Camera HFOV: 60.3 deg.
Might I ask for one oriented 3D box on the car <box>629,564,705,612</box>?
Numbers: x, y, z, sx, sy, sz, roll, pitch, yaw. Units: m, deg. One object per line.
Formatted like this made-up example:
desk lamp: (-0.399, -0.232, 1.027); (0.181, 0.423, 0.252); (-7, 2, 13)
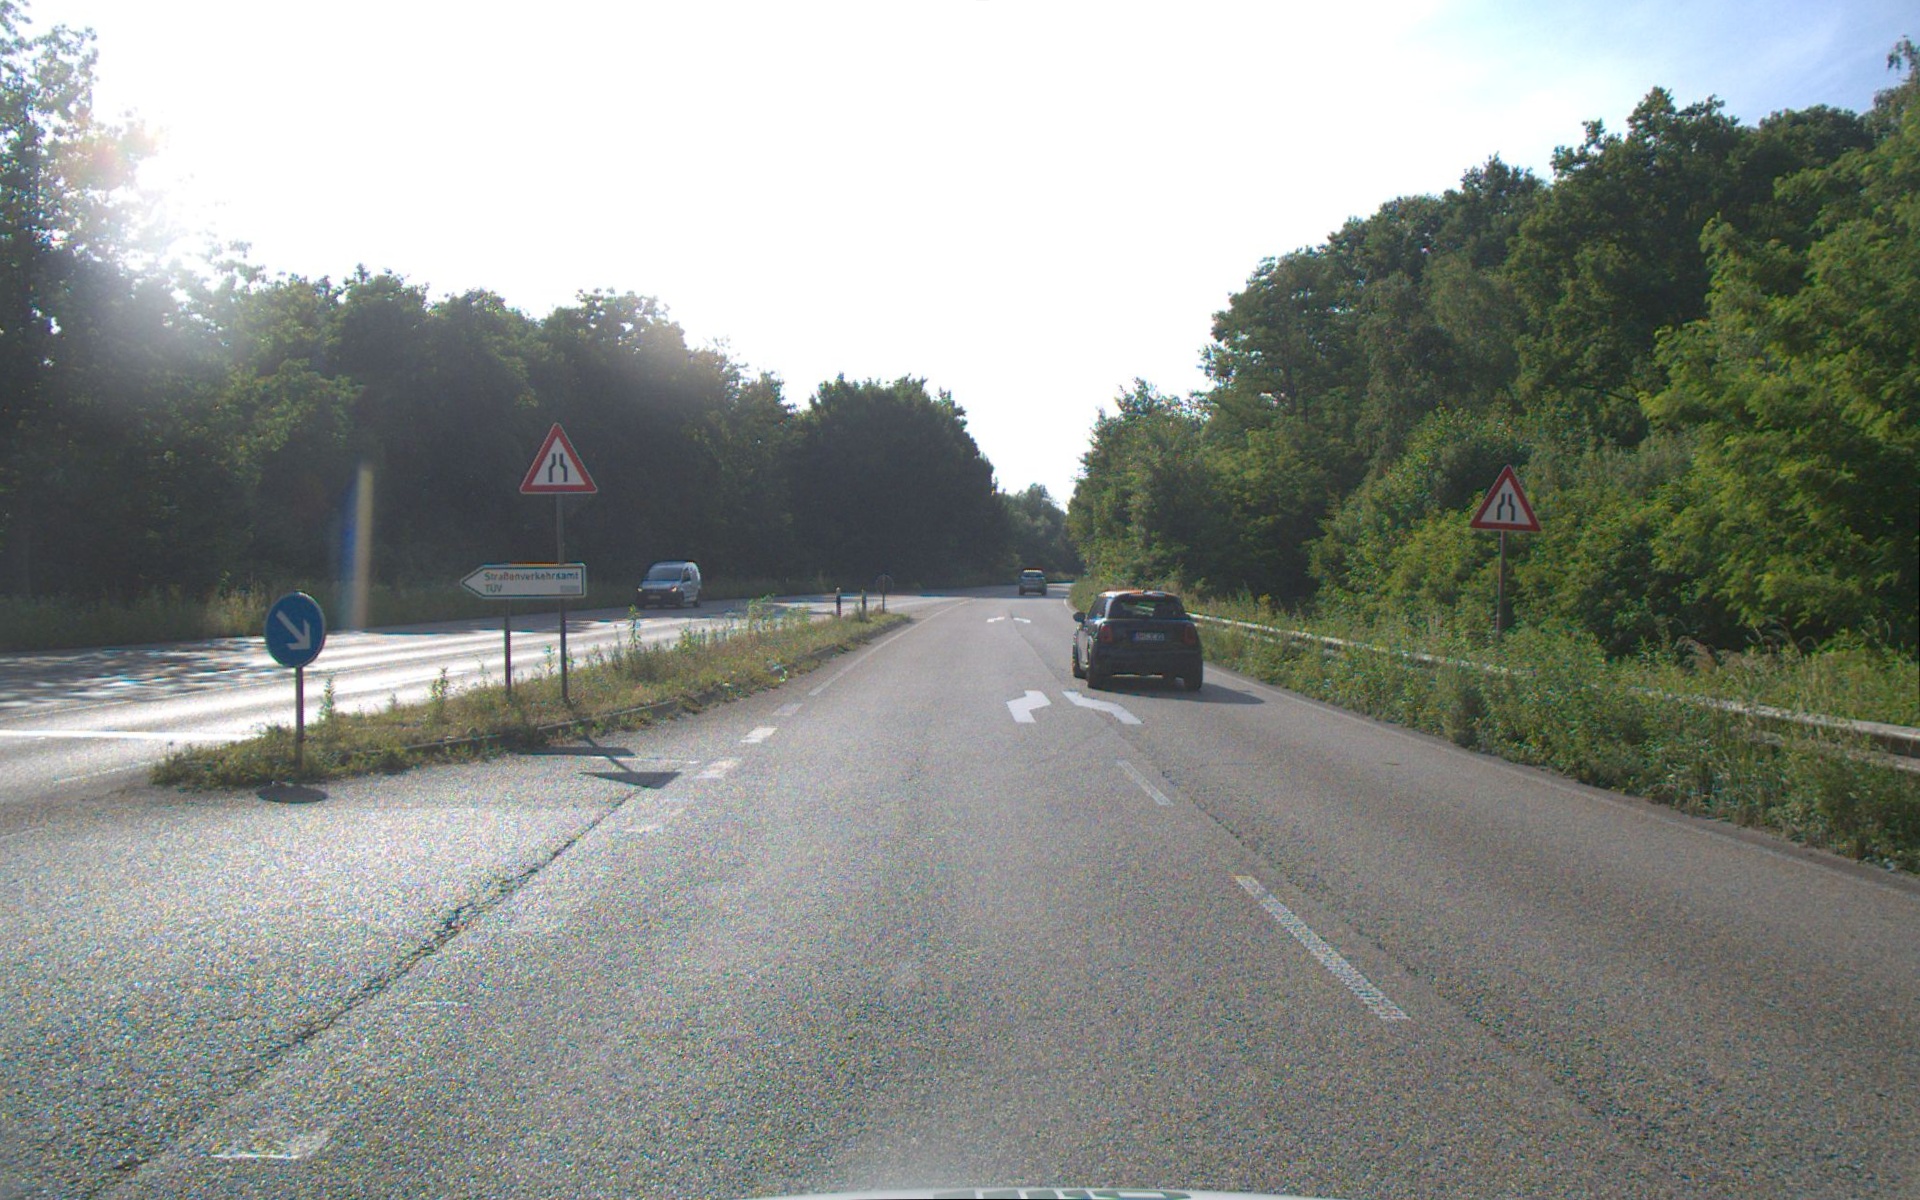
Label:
car: (-11.660, -0.463, 66.112); (1.811, 1.817, 4.672); (1, 0, 5)

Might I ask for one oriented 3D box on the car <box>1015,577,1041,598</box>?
car: (4.715, -0.836, 114.752); (1.724, 1.404, 3.973); (1, 0, 3)

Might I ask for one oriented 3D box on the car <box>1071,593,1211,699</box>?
car: (2.735, 0.679, 25.770); (1.782, 1.493, 3.873); (1, 0, 1)
